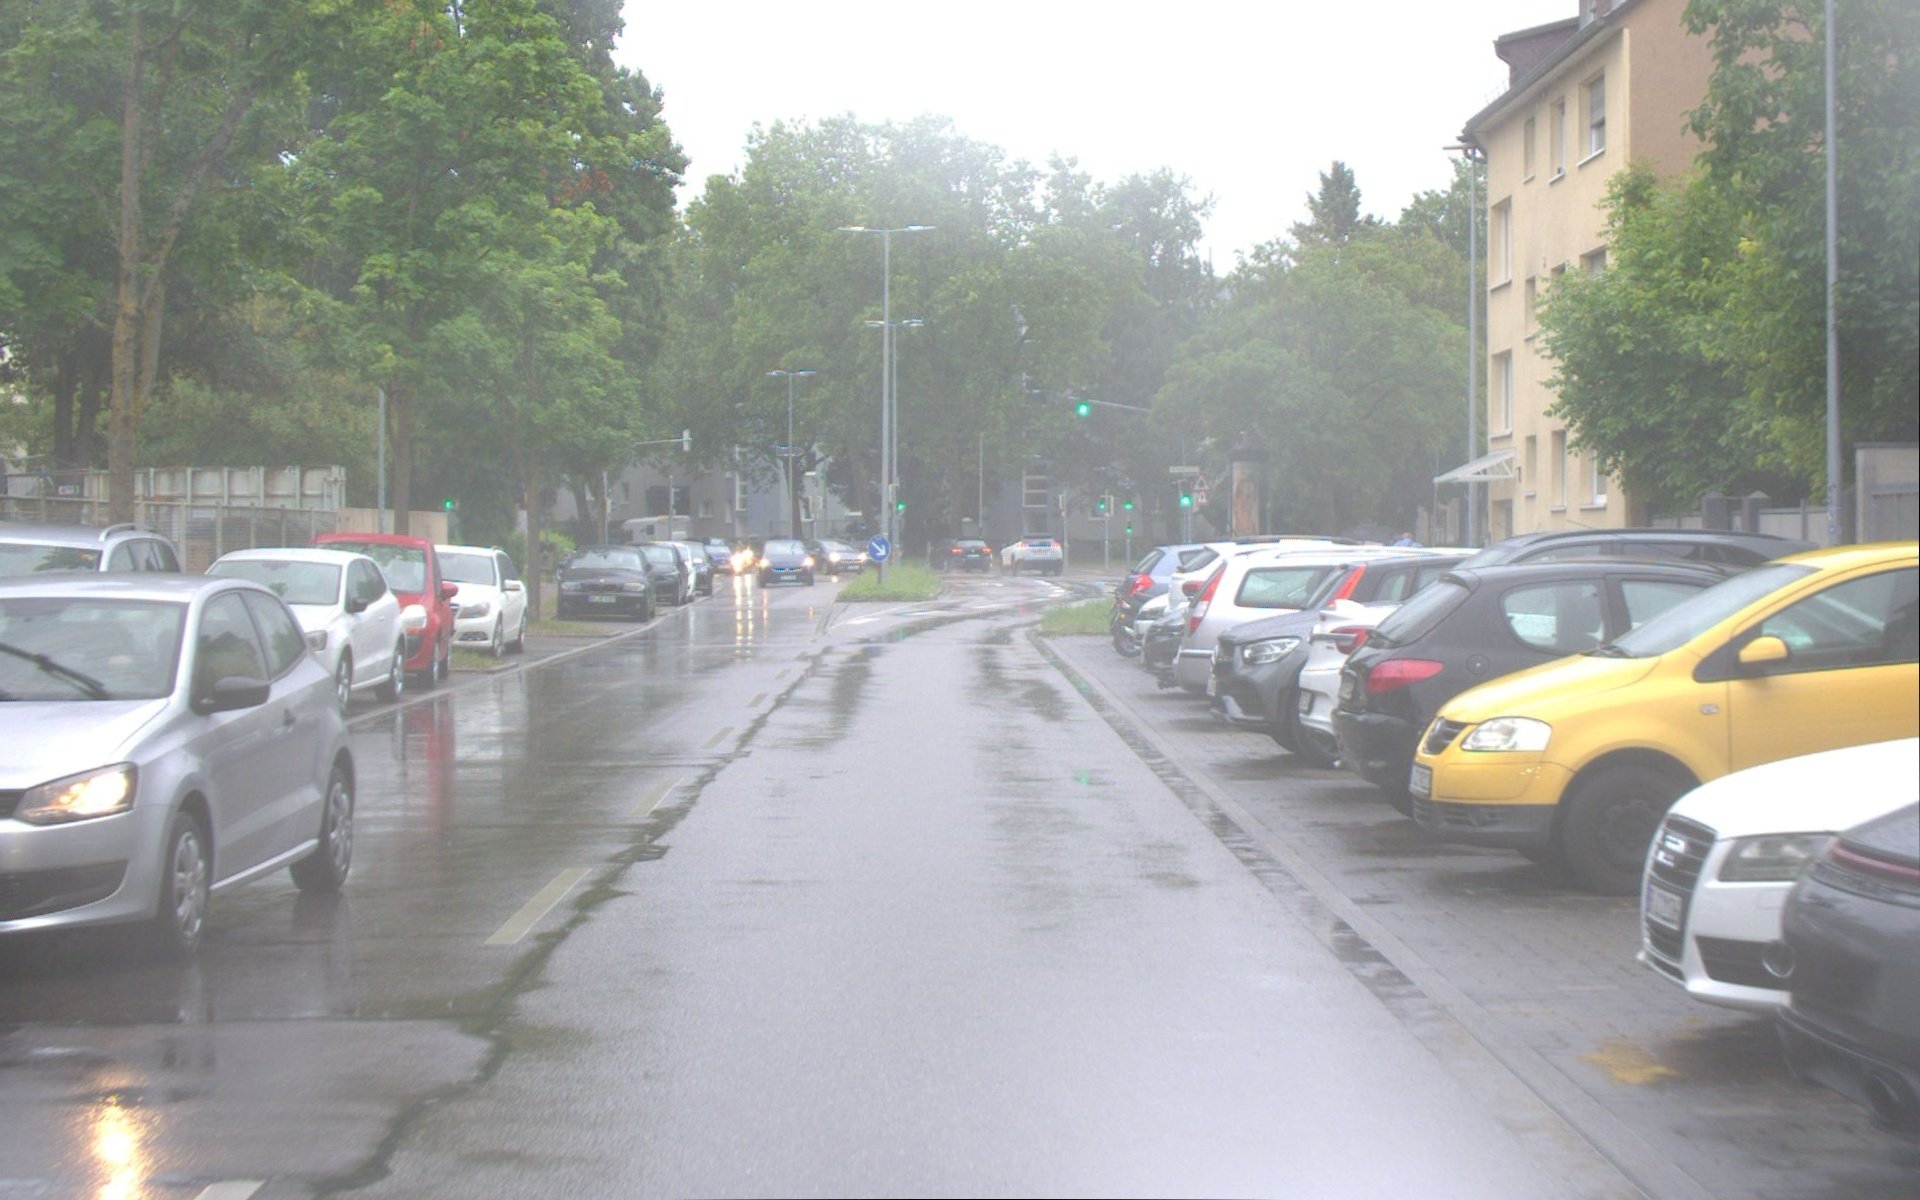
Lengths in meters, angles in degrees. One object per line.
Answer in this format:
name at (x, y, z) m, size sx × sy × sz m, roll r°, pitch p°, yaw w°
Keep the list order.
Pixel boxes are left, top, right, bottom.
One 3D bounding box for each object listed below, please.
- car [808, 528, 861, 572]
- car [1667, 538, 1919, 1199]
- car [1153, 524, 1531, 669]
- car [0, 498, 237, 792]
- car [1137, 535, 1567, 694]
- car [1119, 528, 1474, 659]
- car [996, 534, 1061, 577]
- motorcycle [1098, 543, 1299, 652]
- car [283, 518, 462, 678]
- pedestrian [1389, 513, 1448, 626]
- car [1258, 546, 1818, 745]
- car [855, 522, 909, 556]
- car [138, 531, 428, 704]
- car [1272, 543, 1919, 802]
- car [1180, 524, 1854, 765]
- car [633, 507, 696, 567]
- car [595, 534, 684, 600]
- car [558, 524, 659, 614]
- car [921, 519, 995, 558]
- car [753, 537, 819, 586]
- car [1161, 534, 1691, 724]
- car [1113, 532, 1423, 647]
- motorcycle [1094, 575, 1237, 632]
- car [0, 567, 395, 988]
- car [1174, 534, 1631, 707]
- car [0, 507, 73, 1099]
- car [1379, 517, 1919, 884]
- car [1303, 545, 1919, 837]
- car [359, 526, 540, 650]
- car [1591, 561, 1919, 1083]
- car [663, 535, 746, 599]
car at (-4.948, -1.981, 135.540) m, size 1.740 × 1.683 × 4.001 m, roll 1°, pitch 1°, yaw -7°
car at (3.912, 0.635, 7.838) m, size 4.143 × 1.481 × 2.013 m, roll 1°, pitch 1°, yaw -1°
car at (4.278, -0.050, 38.925) m, size 3.986 × 1.546 × 1.905 m, roll 1°, pitch 1°, yaw -2°
car at (-6.139, 0.199, 22.568) m, size 1.776 × 1.674 × 4.601 m, roll 2°, pitch 2°, yaw 0°
car at (3.800, 0.124, 33.817) m, size 3.987 × 1.461 × 1.782 m, roll 1°, pitch 1°, yaw 0°
car at (4.016, -0.085, 41.476) m, size 3.986 × 1.485 × 1.863 m, roll 1°, pitch 1°, yaw -3°
car at (2.446, -1.606, 123.754) m, size 1.849 × 1.519 × 4.001 m, roll 0°, pitch 1°, yaw -7°
motorcycle at (2.995, -0.038, 43.381) m, size 2.398 × 1.319 × 0.920 m, roll 1°, pitch 1°, yaw -5°
car at (-6.239, -0.047, 36.849) m, size 1.624 × 1.592 × 4.202 m, roll 1°, pitch 1°, yaw -6°
pedestrian at (8.293, -0.560, 62.173) m, size 1.011 × 2.007 × 0.952 m, roll 1°, pitch 1°, yaw 9°
car at (4.402, 0.328, 26.629) m, size 3.987 × 1.407 × 1.845 m, roll 1°, pitch 2°, yaw 0°
car at (-3.520, -2.727, 153.759) m, size 1.849 × 1.519 × 4.001 m, roll 0°, pitch 1°, yaw -10°
car at (-6.112, 0.123, 31.482) m, size 1.661 × 1.455 × 4.173 m, roll 1°, pitch 1°, yaw 2°
car at (4.032, 0.407, 20.945) m, size 4.097 × 1.453 × 2.000 m, roll 1°, pitch 1°, yaw 1°
car at (3.802, 0.286, 24.081) m, size 4.341 × 1.546 × 2.040 m, roll 1°, pitch 1°, yaw -1°
car at (-16.420, -3.490, 190.829) m, size 2.219 × 3.226 × 4.672 m, roll 1°, pitch 1°, yaw -22°
car at (-7.433, -0.794, 79.988) m, size 1.928 × 1.479 × 4.001 m, roll 0°, pitch 1°, yaw -4°
car at (-6.692, -0.616, 65.188) m, size 1.775 × 1.524 × 4.001 m, roll 1°, pitch 3°, yaw -8°
car at (-0.112, -2.469, 138.079) m, size 1.849 × 1.519 × 4.155 m, roll 0°, pitch 1°, yaw -17°
car at (-5.421, -1.206, 107.147) m, size 1.993 × 1.480 × 4.001 m, roll 1°, pitch 1°, yaw -3°
car at (3.874, 0.211, 29.044) m, size 4.270 × 1.449 × 1.984 m, roll 1°, pitch 2°, yaw 5°
car at (4.101, -0.153, 46.260) m, size 3.987 × 1.456 × 1.935 m, roll 1°, pitch 1°, yaw 0°
motorcycle at (3.051, 0.049, 50.885) m, size 2.073 × 0.790 × 0.710 m, roll 1°, pitch 1°, yaw 6°
car at (-3.550, 0.579, 13.784) m, size 1.672 × 1.378 × 4.252 m, roll 0°, pitch 1°, yaw 3°
car at (3.995, 0.169, 31.545) m, size 3.987 × 1.469 × 1.802 m, roll 1°, pitch 1°, yaw 2°
car at (-3.618, 0.568, 7.741) m, size 1.914 × 1.634 × 4.822 m, roll 1°, pitch 1°, yaw 1°
car at (4.057, 0.434, 15.729) m, size 3.986 × 1.546 × 1.853 m, roll 1°, pitch 1°, yaw -2°
car at (3.937, 0.460, 18.339) m, size 3.987 × 1.437 × 1.782 m, roll 1°, pitch 1°, yaw -1°
car at (-6.646, -0.183, 45.165) m, size 1.768 × 1.523 × 4.598 m, roll 1°, pitch 1°, yaw -1°
car at (4.416, 0.635, 10.461) m, size 4.628 × 1.431 × 2.000 m, roll 1°, pitch 1°, yaw 1°
car at (-7.153, -0.936, 96.581) m, size 1.927 × 1.725 × 4.000 m, roll 1°, pitch 1°, yaw 1°
